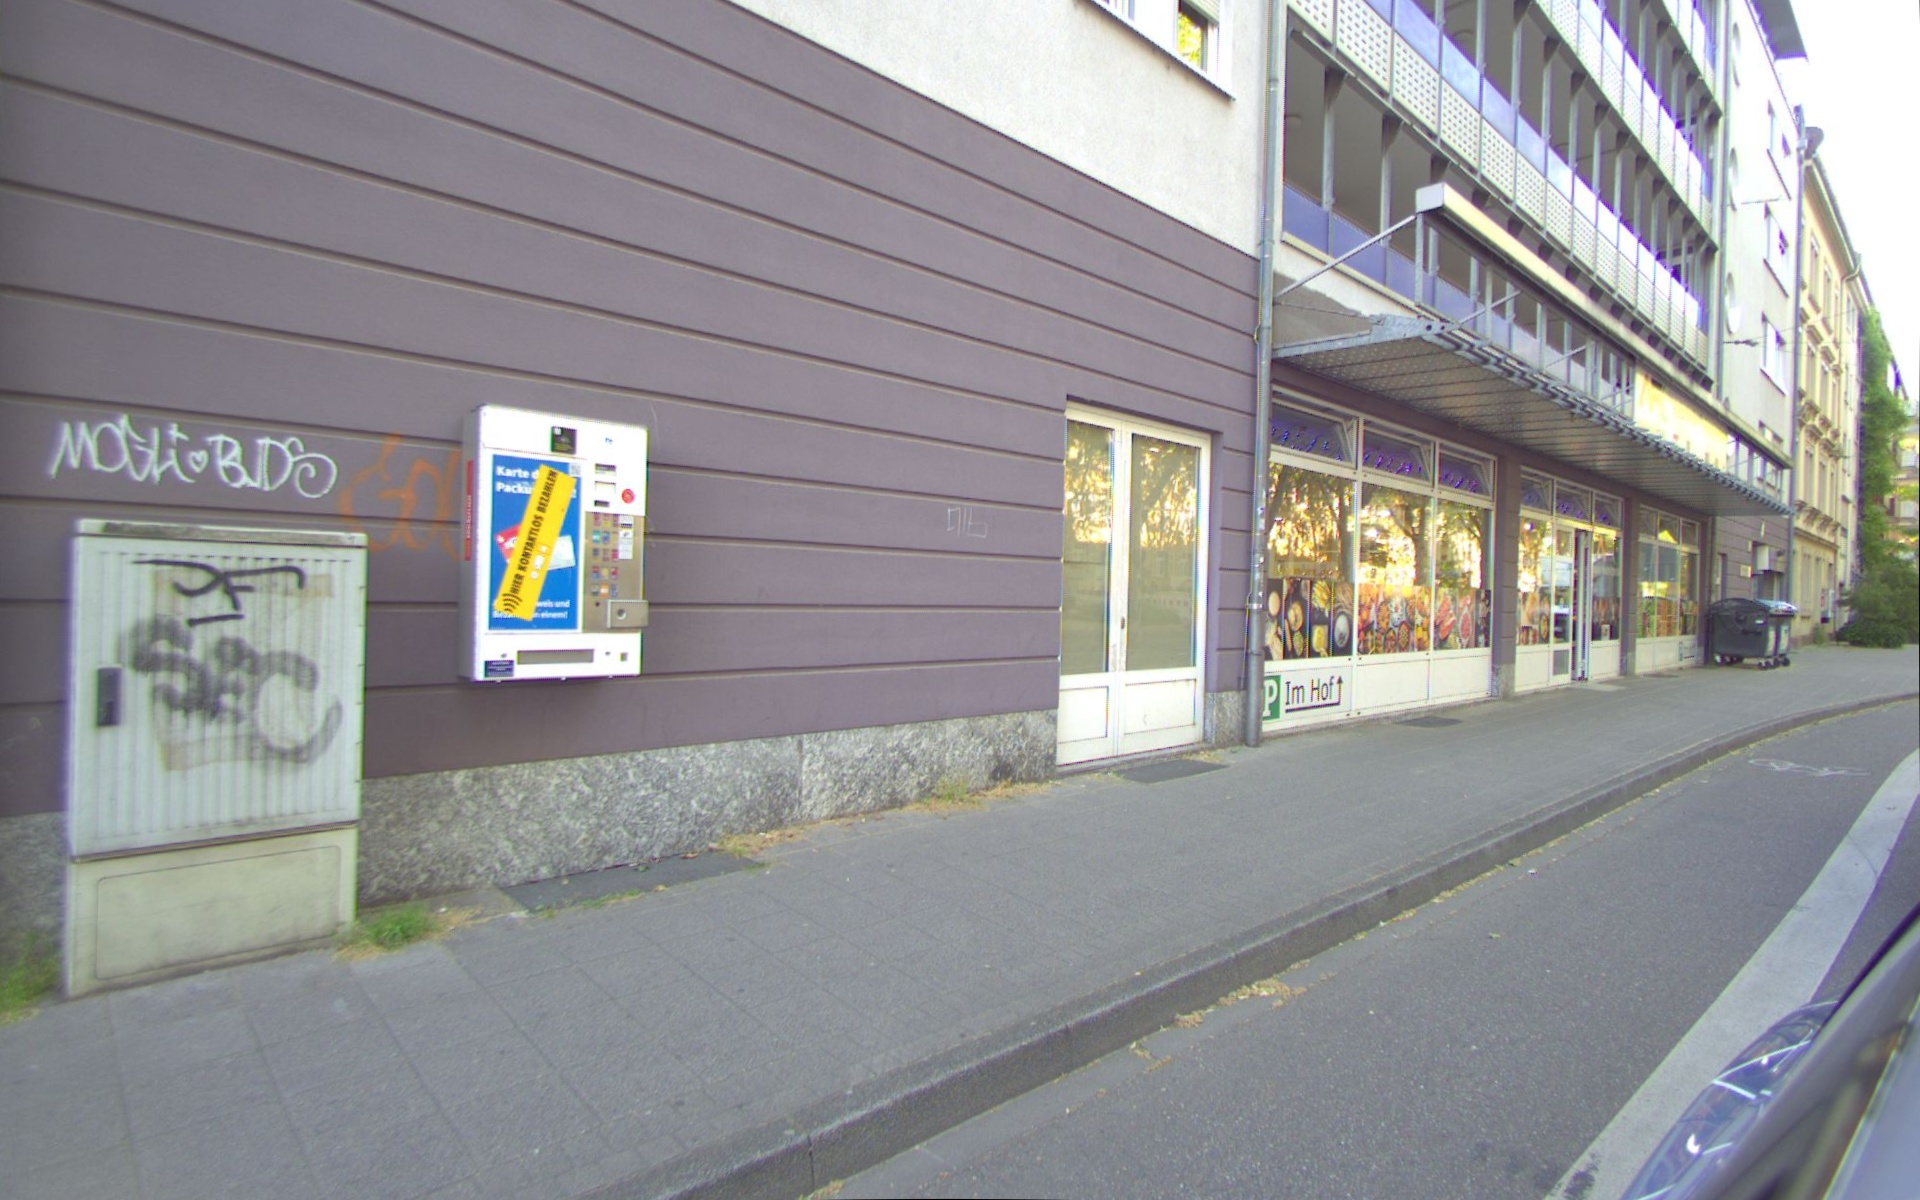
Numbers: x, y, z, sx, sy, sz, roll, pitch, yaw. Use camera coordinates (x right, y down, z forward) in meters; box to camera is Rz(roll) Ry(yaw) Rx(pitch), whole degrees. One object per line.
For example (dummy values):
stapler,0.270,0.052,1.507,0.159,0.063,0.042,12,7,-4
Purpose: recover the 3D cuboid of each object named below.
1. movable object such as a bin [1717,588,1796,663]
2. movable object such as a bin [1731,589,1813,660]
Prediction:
movable object such as a bin,16.433,0.497,20.876,1.274,1.465,1.068,1,1,-42
movable object such as a bin,17.782,0.517,22.163,1.282,1.464,1.123,1,1,-38
